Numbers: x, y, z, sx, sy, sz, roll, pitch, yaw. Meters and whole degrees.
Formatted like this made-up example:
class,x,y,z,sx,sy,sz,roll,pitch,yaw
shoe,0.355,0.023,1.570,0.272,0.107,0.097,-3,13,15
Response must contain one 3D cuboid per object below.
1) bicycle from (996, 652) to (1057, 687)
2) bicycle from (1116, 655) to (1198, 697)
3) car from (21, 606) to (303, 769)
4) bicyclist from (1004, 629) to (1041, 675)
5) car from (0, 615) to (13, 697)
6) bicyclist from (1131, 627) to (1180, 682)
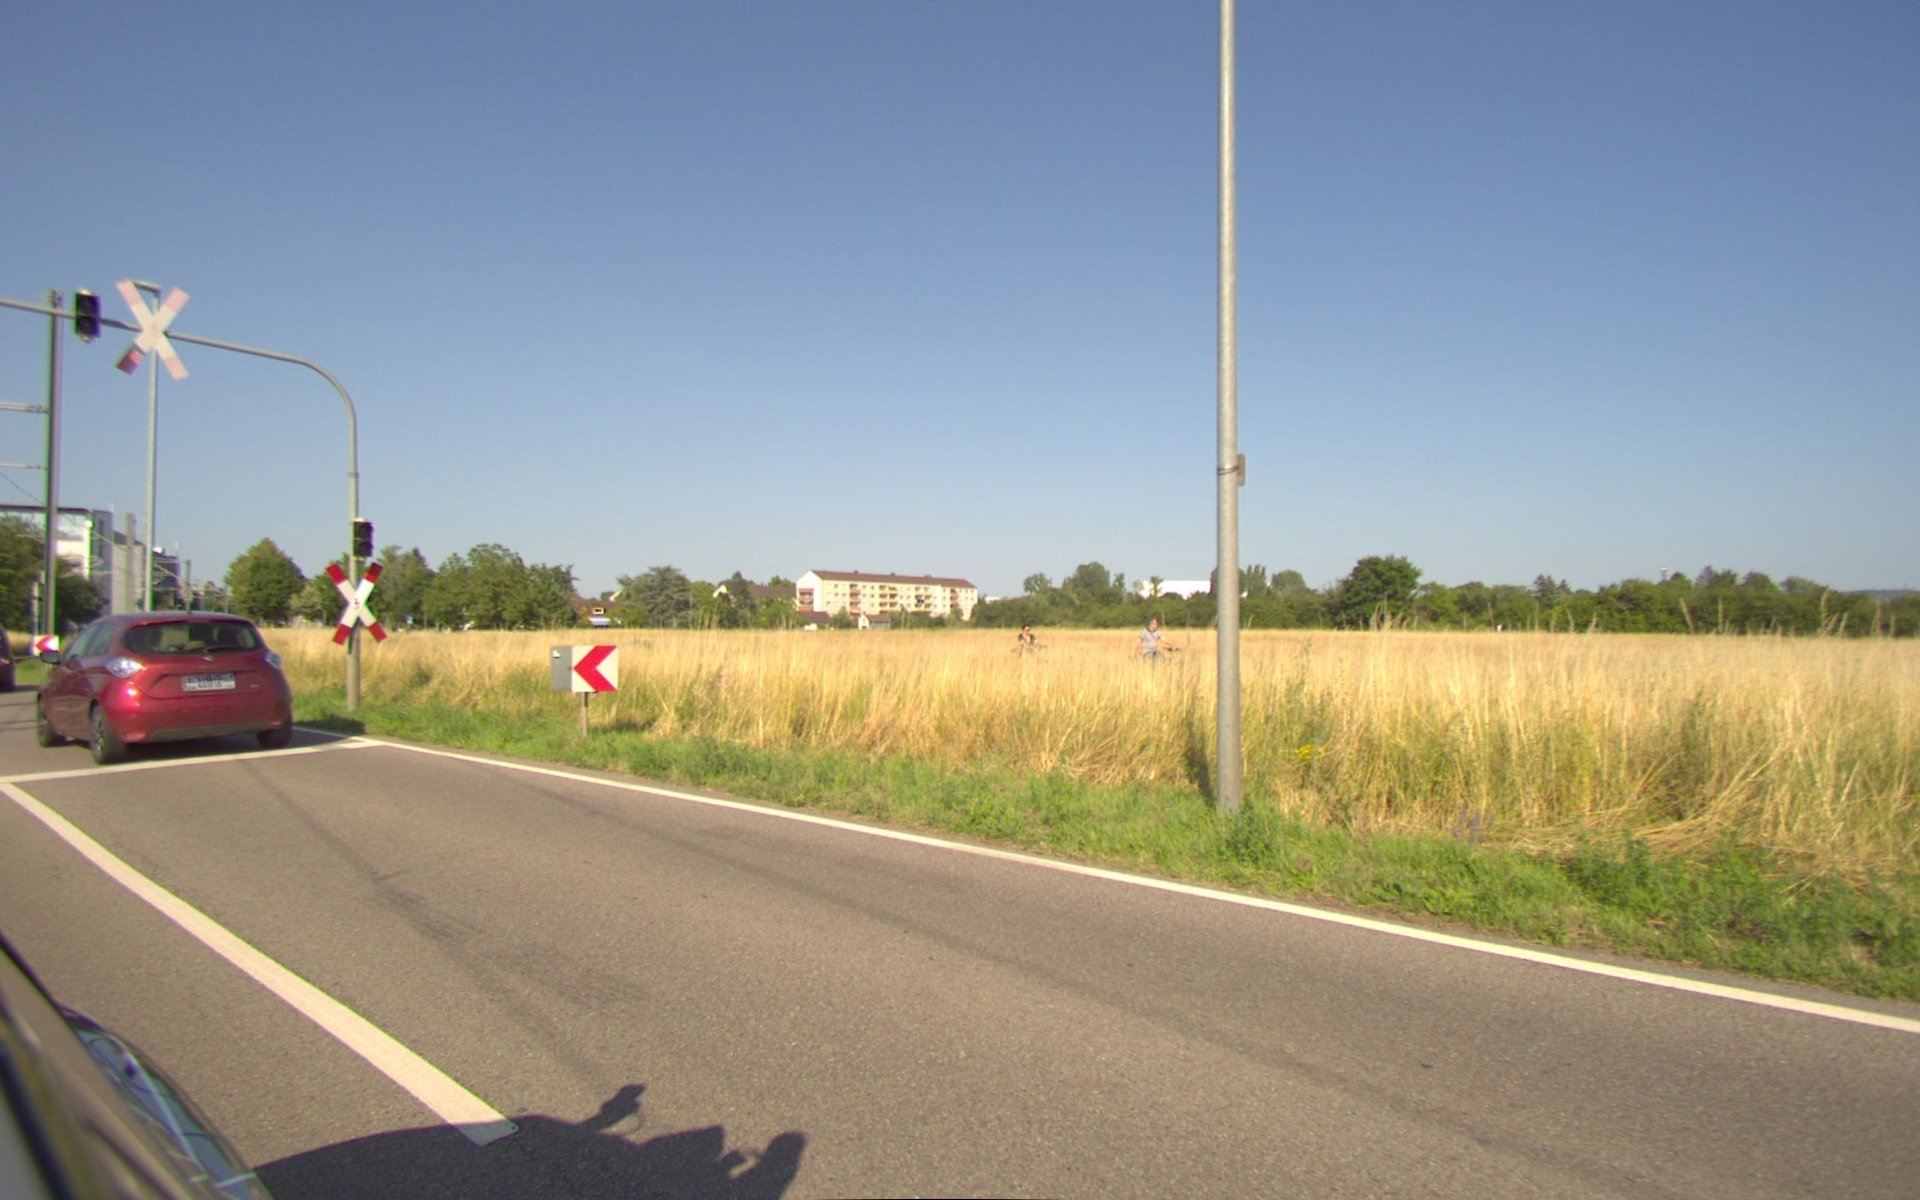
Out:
class,x,y,z,sx,sy,sz,roll,pitch,yaw
bicycle,1.740,1.839,26.827,0.605,0.845,1.740,0,-1,-38
bicycle,4.428,1.689,22.850,0.740,0.845,1.740,0,-1,-38
car,-9.216,0.908,11.593,3.923,1.561,1.696,-2,-2,39
bicyclist,1.665,1.373,26.929,0.594,1.215,0.791,0,-2,-38
car,-21.764,1.210,21.599,4.585,1.678,1.689,-2,-1,39
bicyclist,4.410,1.217,22.877,0.736,1.214,0.791,0,-2,-38
